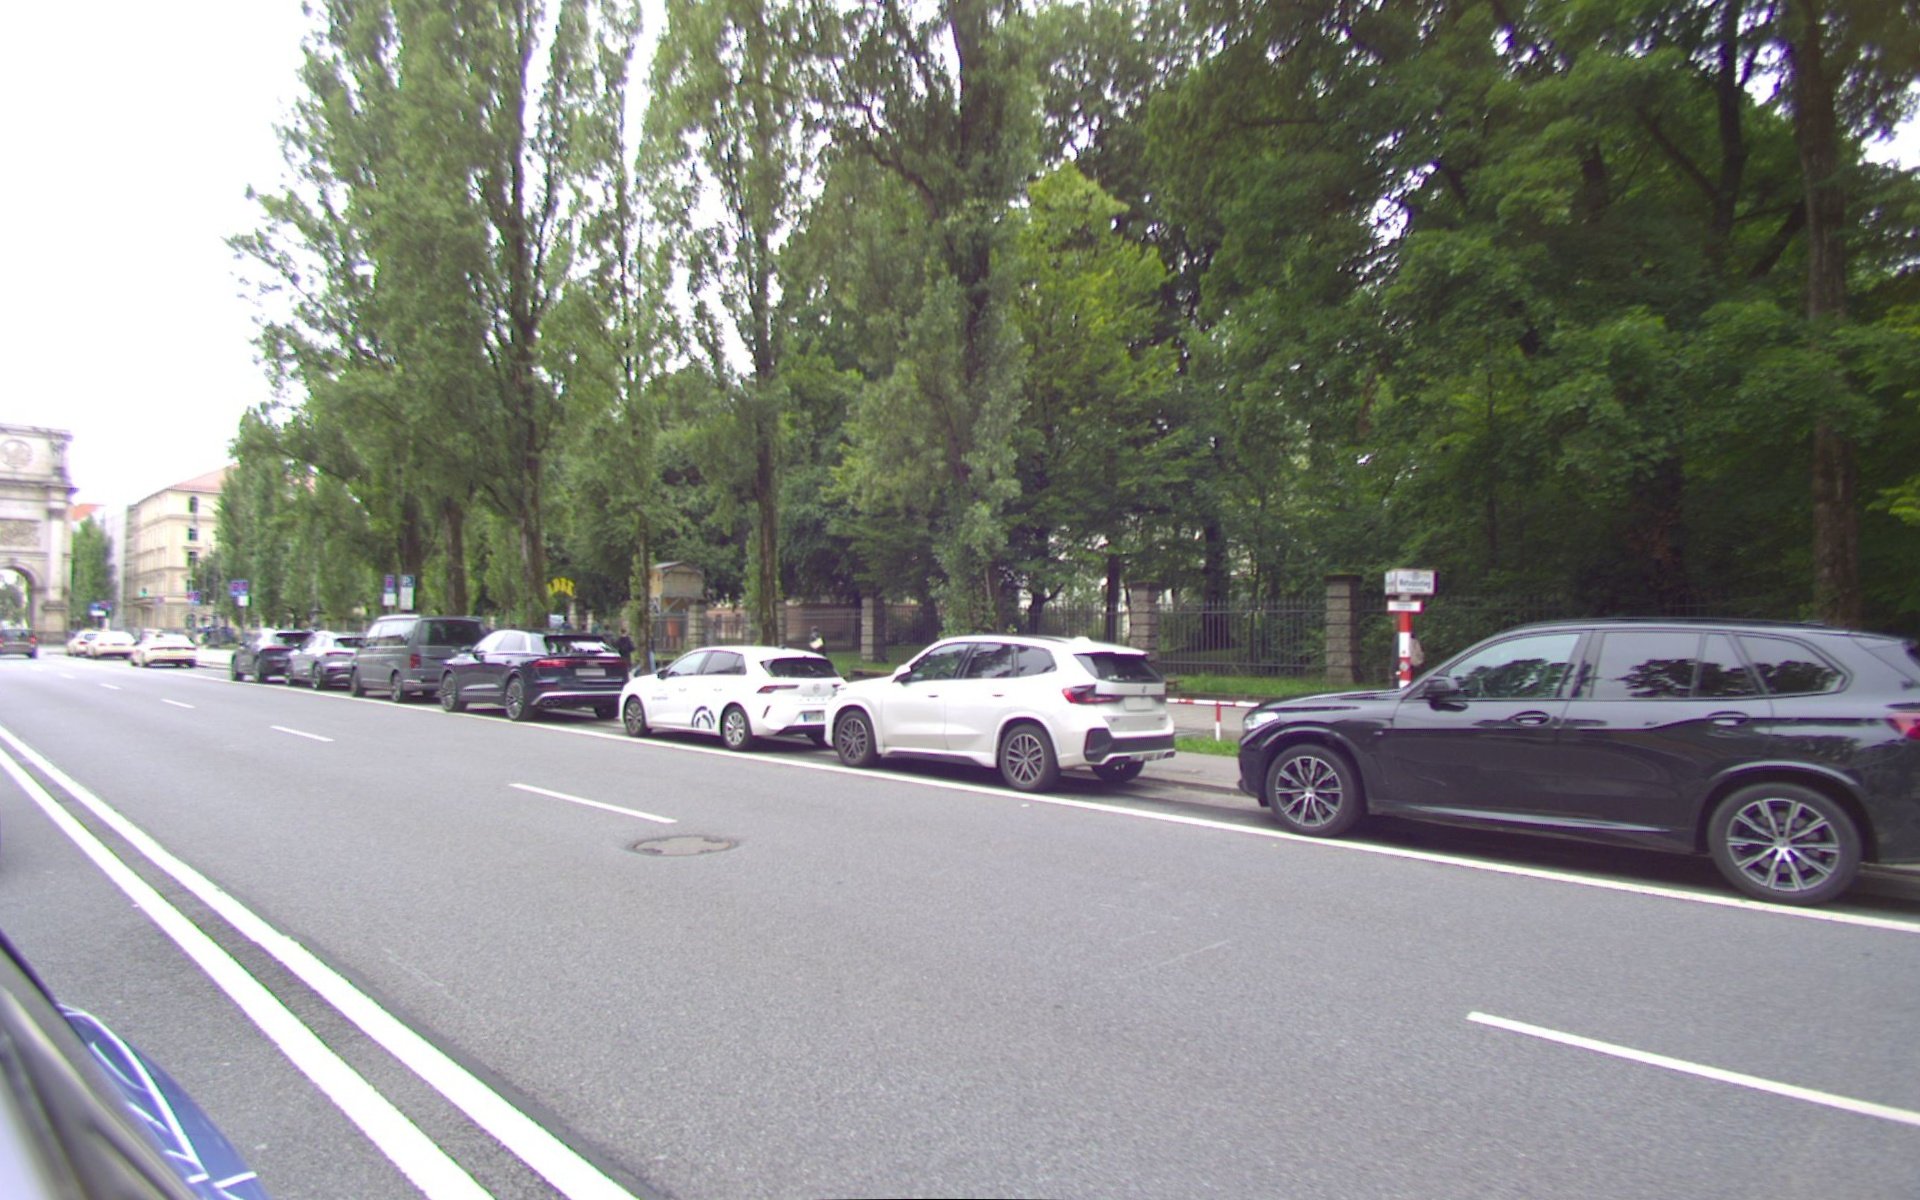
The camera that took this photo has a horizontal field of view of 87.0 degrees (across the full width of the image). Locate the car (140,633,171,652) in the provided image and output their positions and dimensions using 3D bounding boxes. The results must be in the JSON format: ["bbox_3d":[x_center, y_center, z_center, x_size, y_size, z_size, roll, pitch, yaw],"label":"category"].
[{"bbox_3d":[-85.532,4.479,107.573,4.992,1.869,1.976,-1,-3,45],"label":"car"}]

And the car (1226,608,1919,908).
[{"bbox_3d":[4.593,0.981,7.593,4.716,1.671,1.860,-2,-5,41],"label":"car"}]

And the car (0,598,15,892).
[{"bbox_3d":[-7.502,0.832,6.471,4.690,1.587,1.893,-1,0,44],"label":"car"}]

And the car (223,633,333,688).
[{"bbox_3d":[-21.378,1.863,31.667,4.613,1.608,1.763,-2,-4,42],"label":"car"}]

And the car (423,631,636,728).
[{"bbox_3d":[-8.401,1.446,19.486,5.052,1.621,1.795,-1,-4,43],"label":"car"}]

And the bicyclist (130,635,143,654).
[{"bbox_3d":[-64.881,3.501,79.750,0.685,1.510,0.862,2,-3,-42],"label":"bicyclist"}]

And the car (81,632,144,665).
[{"bbox_3d":[-45.632,2.565,54.468,4.964,1.637,1.916,-1,-2,43],"label":"car"}]

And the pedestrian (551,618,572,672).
[{"bbox_3d":[-14.816,1.664,37.605,0.532,1.974,0.543,-2,-2,42],"label":"pedestrian"}]

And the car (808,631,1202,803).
[{"bbox_3d":[0.355,1.197,11.661,4.461,1.600,1.765,-2,-5,43],"label":"car"}]

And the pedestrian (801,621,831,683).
[{"bbox_3d":[-4.126,1.473,28.908,0.672,1.761,0.543,-2,-2,42],"label":"pedestrian"}]

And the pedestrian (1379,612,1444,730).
[{"bbox_3d":[7.242,1.119,16.240,0.775,1.829,0.633,-2,-2,43],"label":"pedestrian"}]

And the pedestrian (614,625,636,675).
[{"bbox_3d":[-11.673,1.732,35.243,0.532,1.682,0.543,-2,-2,42],"label":"pedestrian"}]

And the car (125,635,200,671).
[{"bbox_3d":[-35.139,2.319,44.565,4.791,1.509,1.909,-3,-3,44],"label":"car"}]

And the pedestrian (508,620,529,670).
[{"bbox_3d":[-15.922,1.619,36.510,0.532,1.761,0.543,-2,-2,42],"label":"pedestrian"}]

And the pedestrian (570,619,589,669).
[{"bbox_3d":[-14.277,1.655,37.968,0.612,1.849,0.428,-2,-2,42],"label":"pedestrian"}]

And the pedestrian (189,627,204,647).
[{"bbox_3d":[-64.042,3.125,84.871,0.832,1.691,0.969,1,-2,-31],"label":"pedestrian"}]

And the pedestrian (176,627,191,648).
[{"bbox_3d":[-64.852,3.126,84.507,0.832,1.691,0.969,1,-2,-31],"label":"pedestrian"}]

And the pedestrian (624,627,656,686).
[{"bbox_3d":[-9.469,1.658,29.930,0.786,1.733,0.576,-2,-2,41],"label":"pedestrian"}]

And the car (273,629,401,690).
[{"bbox_3d":[-17.743,1.642,28.731,4.653,1.596,1.870,-2,-3,42],"label":"car"}]

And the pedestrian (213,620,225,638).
[{"bbox_3d":[-81.049,3.175,110.716,0.747,2.029,0.793,-1,-2,8],"label":"pedestrian"}]

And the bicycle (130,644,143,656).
[{"bbox_3d":[-64.894,3.928,79.750,0.699,0.946,1.736,1,-2,-44],"label":"bicycle"}]

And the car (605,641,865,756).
[{"bbox_3d":[-3.471,1.370,15.176,4.237,1.433,1.658,-1,-4,43],"label":"car"}]

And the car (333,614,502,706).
[{"bbox_3d":[-12.988,1.391,24.107,4.936,1.971,1.972,-2,-4,42],"label":"car"}]

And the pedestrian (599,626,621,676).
[{"bbox_3d":[-12.037,1.741,34.802,0.532,1.714,0.543,-2,-2,42],"label":"pedestrian"}]

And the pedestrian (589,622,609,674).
[{"bbox_3d":[-13.861,1.818,38.819,0.532,1.974,0.543,-2,-2,42],"label":"pedestrian"}]

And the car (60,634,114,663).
[{"bbox_3d":[-50.962,2.808,59.053,4.858,1.571,1.798,-1,-4,42],"label":"car"}]

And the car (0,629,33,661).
[{"bbox_3d":[-50.422,2.363,53.396,4.112,1.669,1.766,-2,-4,42],"label":"car"}]
